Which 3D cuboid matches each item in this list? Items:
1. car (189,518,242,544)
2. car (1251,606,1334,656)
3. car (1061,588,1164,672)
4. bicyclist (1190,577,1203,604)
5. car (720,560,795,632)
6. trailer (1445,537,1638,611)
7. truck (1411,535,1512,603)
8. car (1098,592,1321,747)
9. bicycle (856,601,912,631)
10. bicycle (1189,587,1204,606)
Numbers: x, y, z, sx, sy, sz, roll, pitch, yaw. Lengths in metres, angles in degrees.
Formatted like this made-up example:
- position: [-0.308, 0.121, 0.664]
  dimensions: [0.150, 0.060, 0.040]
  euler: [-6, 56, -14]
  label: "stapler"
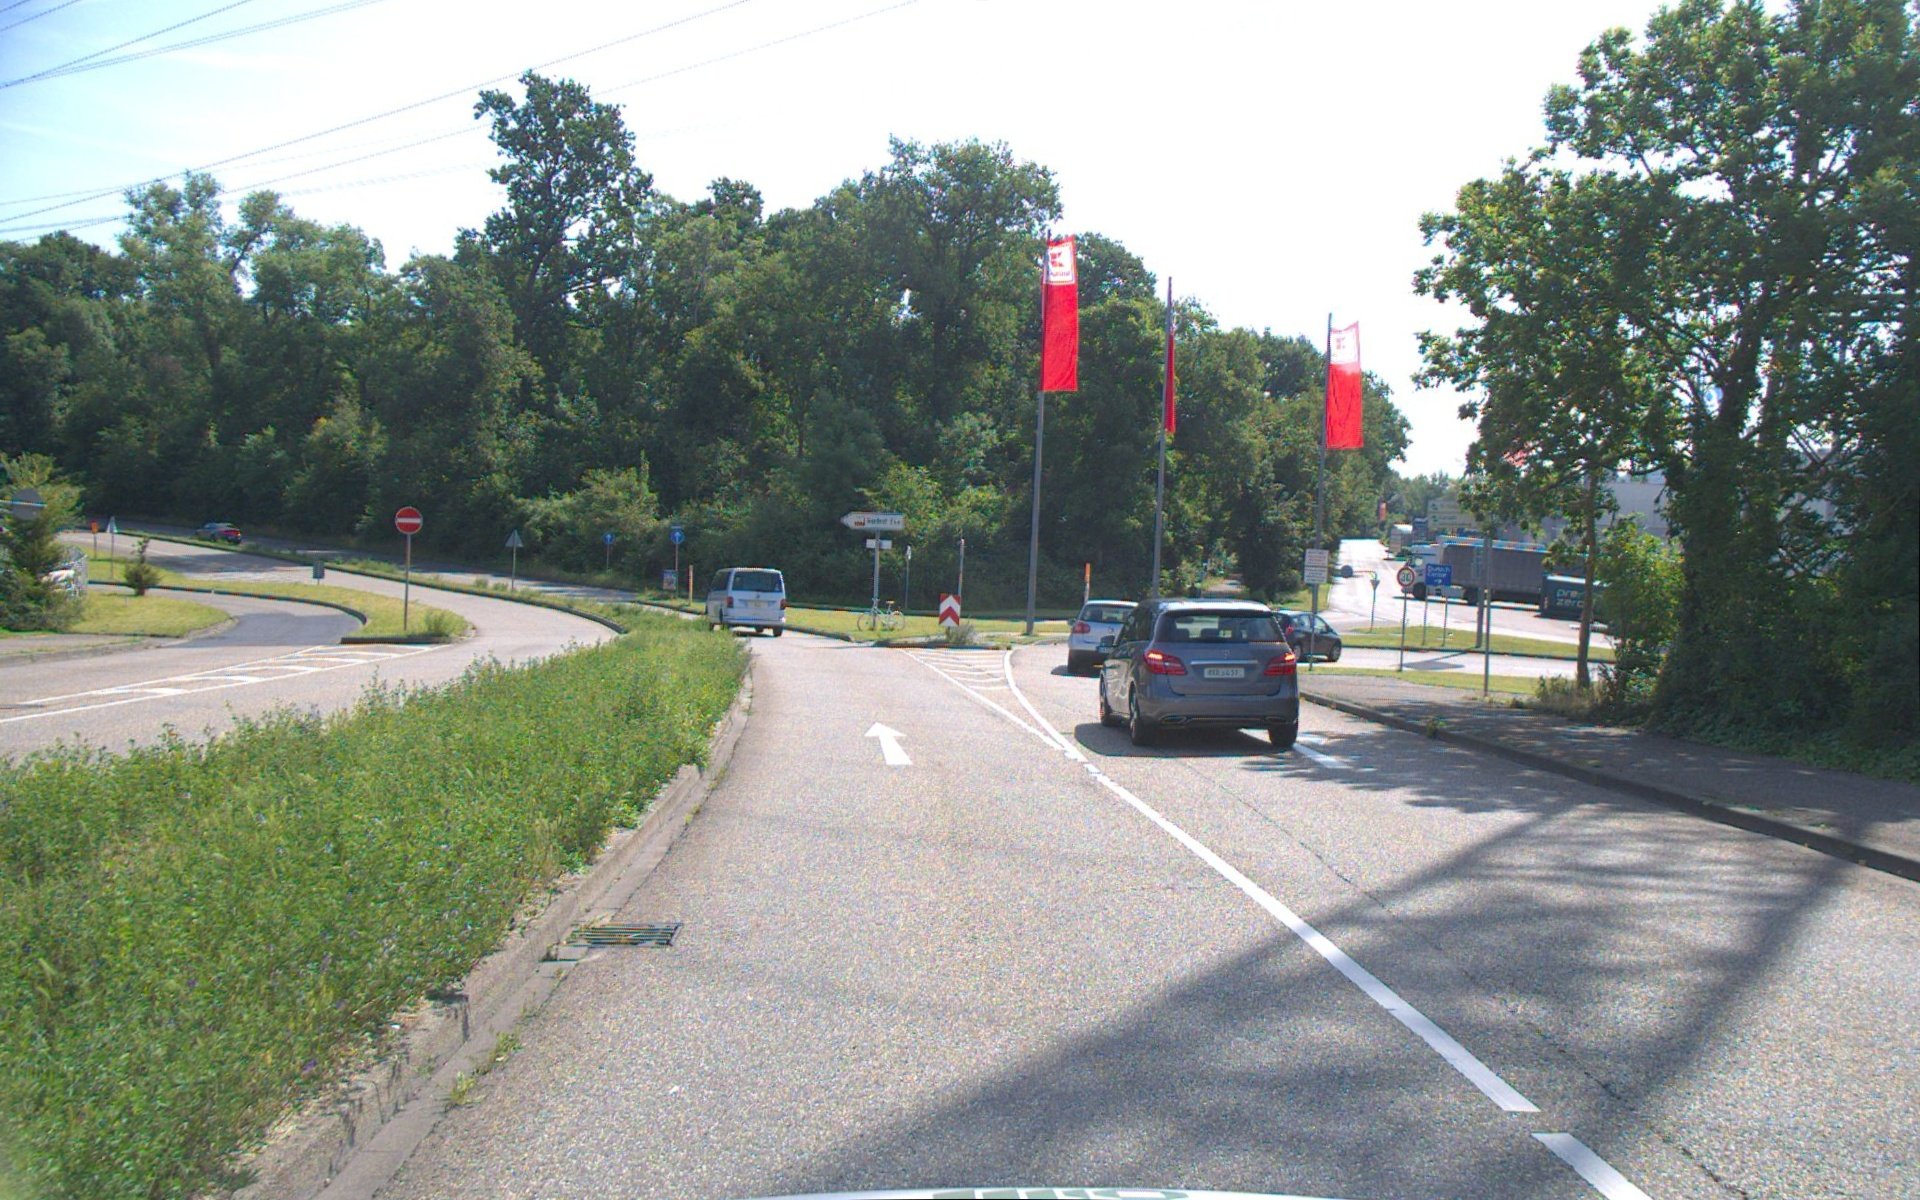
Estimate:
- position: [-51.738, -4.804, 114.899]
  dimensions: [3.581, 1.593, 1.648]
  euler: [4, 4, 33]
  label: "car"
- position: [10.528, 0.936, 52.182]
  dimensions: [1.739, 1.354, 3.739]
  euler: [5, 2, 24]
  label: "car"
- position: [3.106, 0.574, 34.426]
  dimensions: [1.818, 1.556, 4.145]
  euler: [3, 0, 2]
  label: "car"
- position: [13.999, -0.576, 97.749]
  dimensions: [0.661, 1.560, 0.847]
  euler: [3, 3, 11]
  label: "bicyclist"
- position: [-6.200, -0.147, 50.206]
  dimensions: [2.002, 2.049, 3.991]
  euler: [2, 1, -10]
  label: "car"
- position: [41.121, -1.953, 117.056]
  dimensions: [12.423, 4.491, 3.755]
  euler: [4, 4, 24]
  label: "trailer"
- position: [36.192, -2.275, 119.264]
  dimensions: [6.414, 4.491, 3.756]
  euler: [4, 4, 23]
  label: "truck"
- position: [2.681, 0.698, 18.690]
  dimensions: [1.819, 1.556, 4.143]
  euler: [0, 0, -1]
  label: "car"
- position: [-2.319, 0.495, 50.709]
  dimensions: [1.763, 0.904, 0.269]
  euler: [1, 1, -28]
  label: "bicycle"
- position: [14.015, -0.214, 97.907]
  dimensions: [0.708, 0.994, 2.189]
  euler: [3, 4, 11]
  label: "bicycle"
